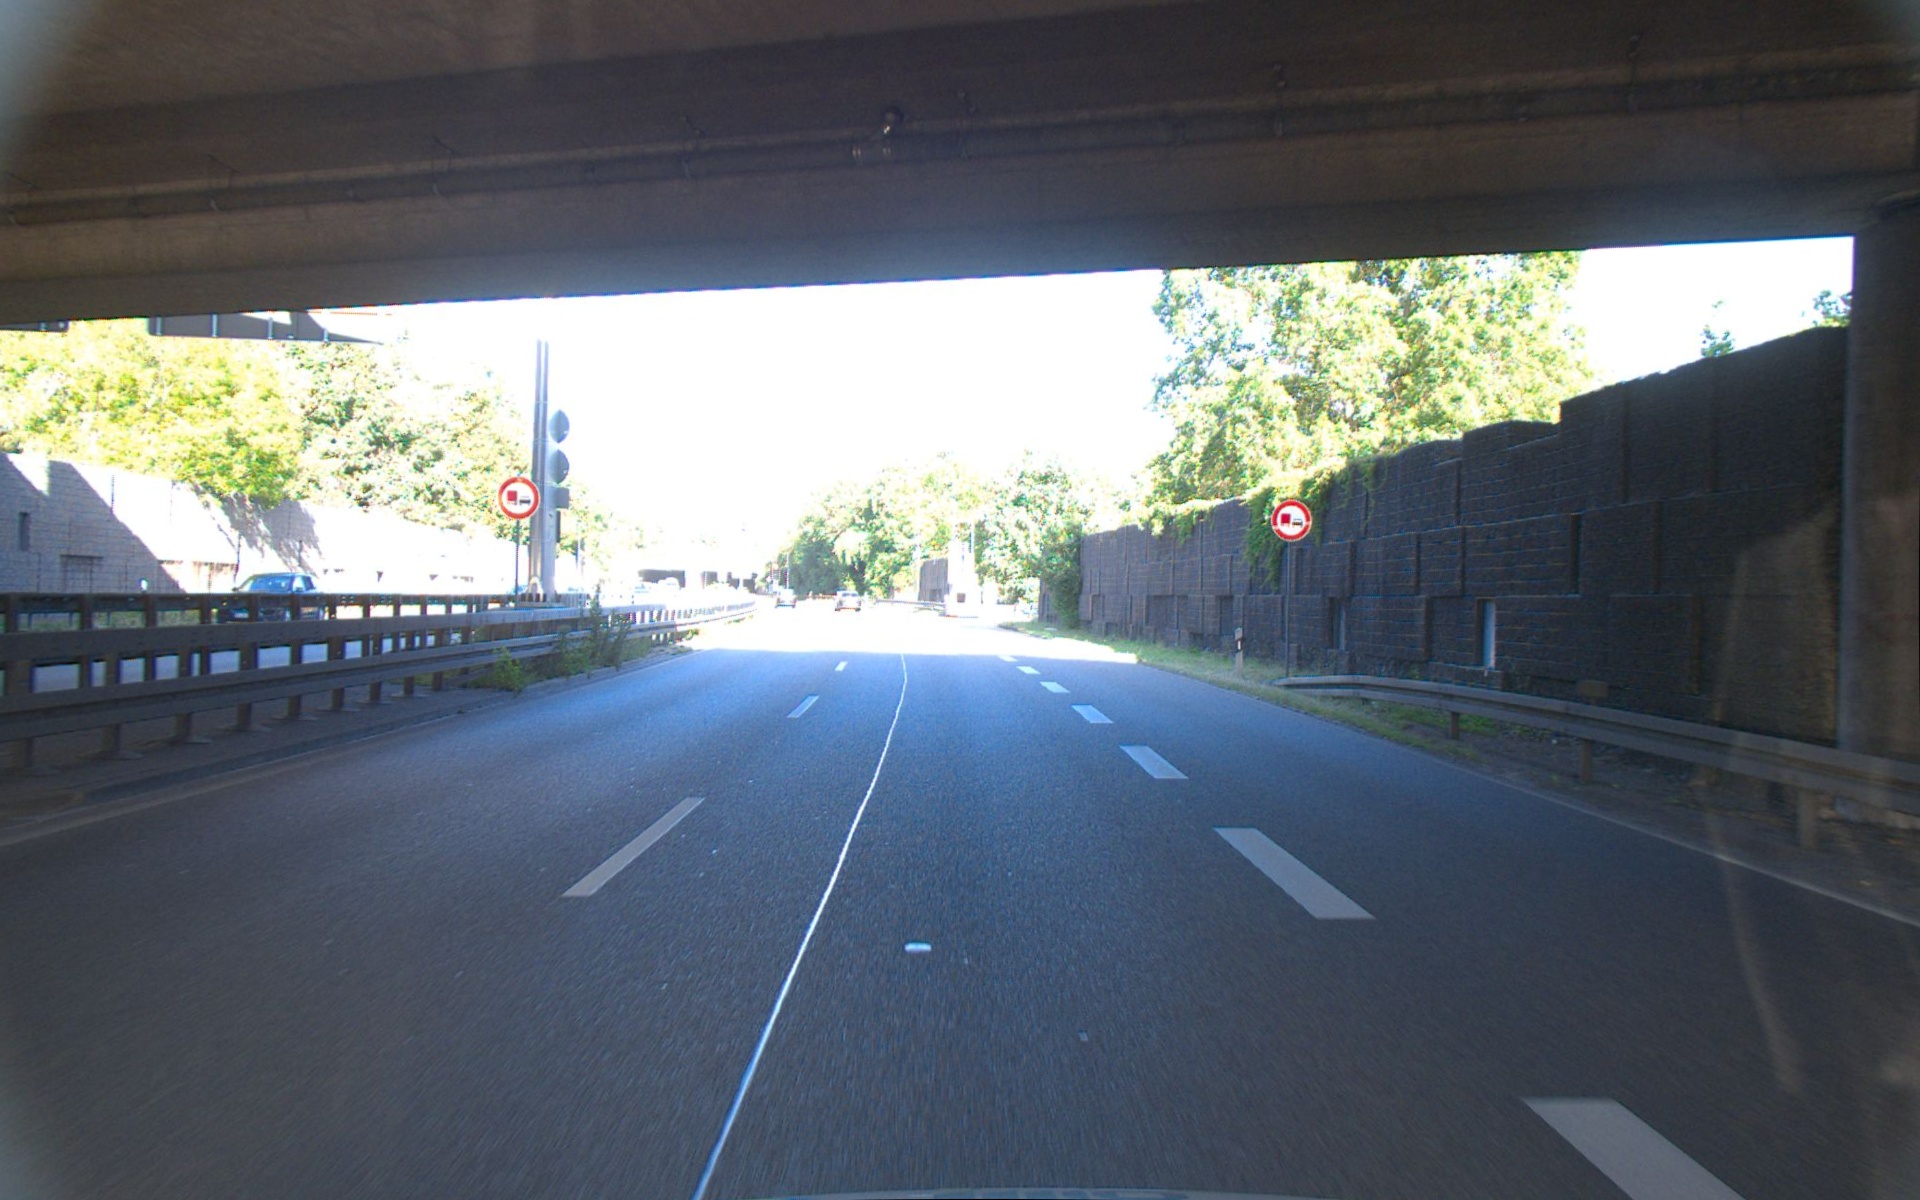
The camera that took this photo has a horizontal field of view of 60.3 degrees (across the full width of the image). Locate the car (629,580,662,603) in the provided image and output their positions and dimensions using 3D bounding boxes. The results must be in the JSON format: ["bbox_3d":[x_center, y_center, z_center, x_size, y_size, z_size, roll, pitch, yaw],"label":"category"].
[{"bbox_3d":[-24.416,-0.690,128.505,1.861,1.601,4.803,3,1,-5],"label":"car"}]

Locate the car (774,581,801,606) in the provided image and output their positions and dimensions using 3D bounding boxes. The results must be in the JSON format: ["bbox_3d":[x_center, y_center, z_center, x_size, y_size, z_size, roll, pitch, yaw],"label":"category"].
[{"bbox_3d":[-14.148,-0.579,136.005,1.954,1.959,3.998,2,0,-3],"label":"car"}]

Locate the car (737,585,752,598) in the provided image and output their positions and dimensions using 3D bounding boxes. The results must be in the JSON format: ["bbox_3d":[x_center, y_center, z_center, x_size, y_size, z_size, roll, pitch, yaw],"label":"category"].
[{"bbox_3d":[-33.181,-1.320,254.778,1.959,1.959,3.988,2,0,-12],"label":"car"}]

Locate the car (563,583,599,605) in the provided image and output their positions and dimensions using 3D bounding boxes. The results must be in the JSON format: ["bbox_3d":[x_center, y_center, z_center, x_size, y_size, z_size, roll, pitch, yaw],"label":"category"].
[{"bbox_3d":[-26.322,-0.421,114.984,1.860,1.446,4.131,0,1,-5],"label":"car"}]

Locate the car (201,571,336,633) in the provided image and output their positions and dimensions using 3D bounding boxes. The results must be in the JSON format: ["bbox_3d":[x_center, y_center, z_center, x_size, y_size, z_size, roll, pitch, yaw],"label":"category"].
[{"bbox_3d":[-19.394,0.033,46.610,1.953,1.623,4.426,1,1,-1],"label":"car"}]

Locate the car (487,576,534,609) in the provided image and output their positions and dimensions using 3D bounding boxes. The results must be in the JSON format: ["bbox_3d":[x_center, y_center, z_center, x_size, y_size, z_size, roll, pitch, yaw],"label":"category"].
[{"bbox_3d":[-23.593,-0.419,86.954,1.515,1.601,4.392,3,1,-5],"label":"car"}]

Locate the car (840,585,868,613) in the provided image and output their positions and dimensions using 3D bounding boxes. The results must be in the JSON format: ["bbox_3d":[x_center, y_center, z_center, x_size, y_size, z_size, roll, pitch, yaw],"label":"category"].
[{"bbox_3d":[-7.658,-0.088,119.868,1.954,1.959,3.998,2,0,-3],"label":"car"}]
